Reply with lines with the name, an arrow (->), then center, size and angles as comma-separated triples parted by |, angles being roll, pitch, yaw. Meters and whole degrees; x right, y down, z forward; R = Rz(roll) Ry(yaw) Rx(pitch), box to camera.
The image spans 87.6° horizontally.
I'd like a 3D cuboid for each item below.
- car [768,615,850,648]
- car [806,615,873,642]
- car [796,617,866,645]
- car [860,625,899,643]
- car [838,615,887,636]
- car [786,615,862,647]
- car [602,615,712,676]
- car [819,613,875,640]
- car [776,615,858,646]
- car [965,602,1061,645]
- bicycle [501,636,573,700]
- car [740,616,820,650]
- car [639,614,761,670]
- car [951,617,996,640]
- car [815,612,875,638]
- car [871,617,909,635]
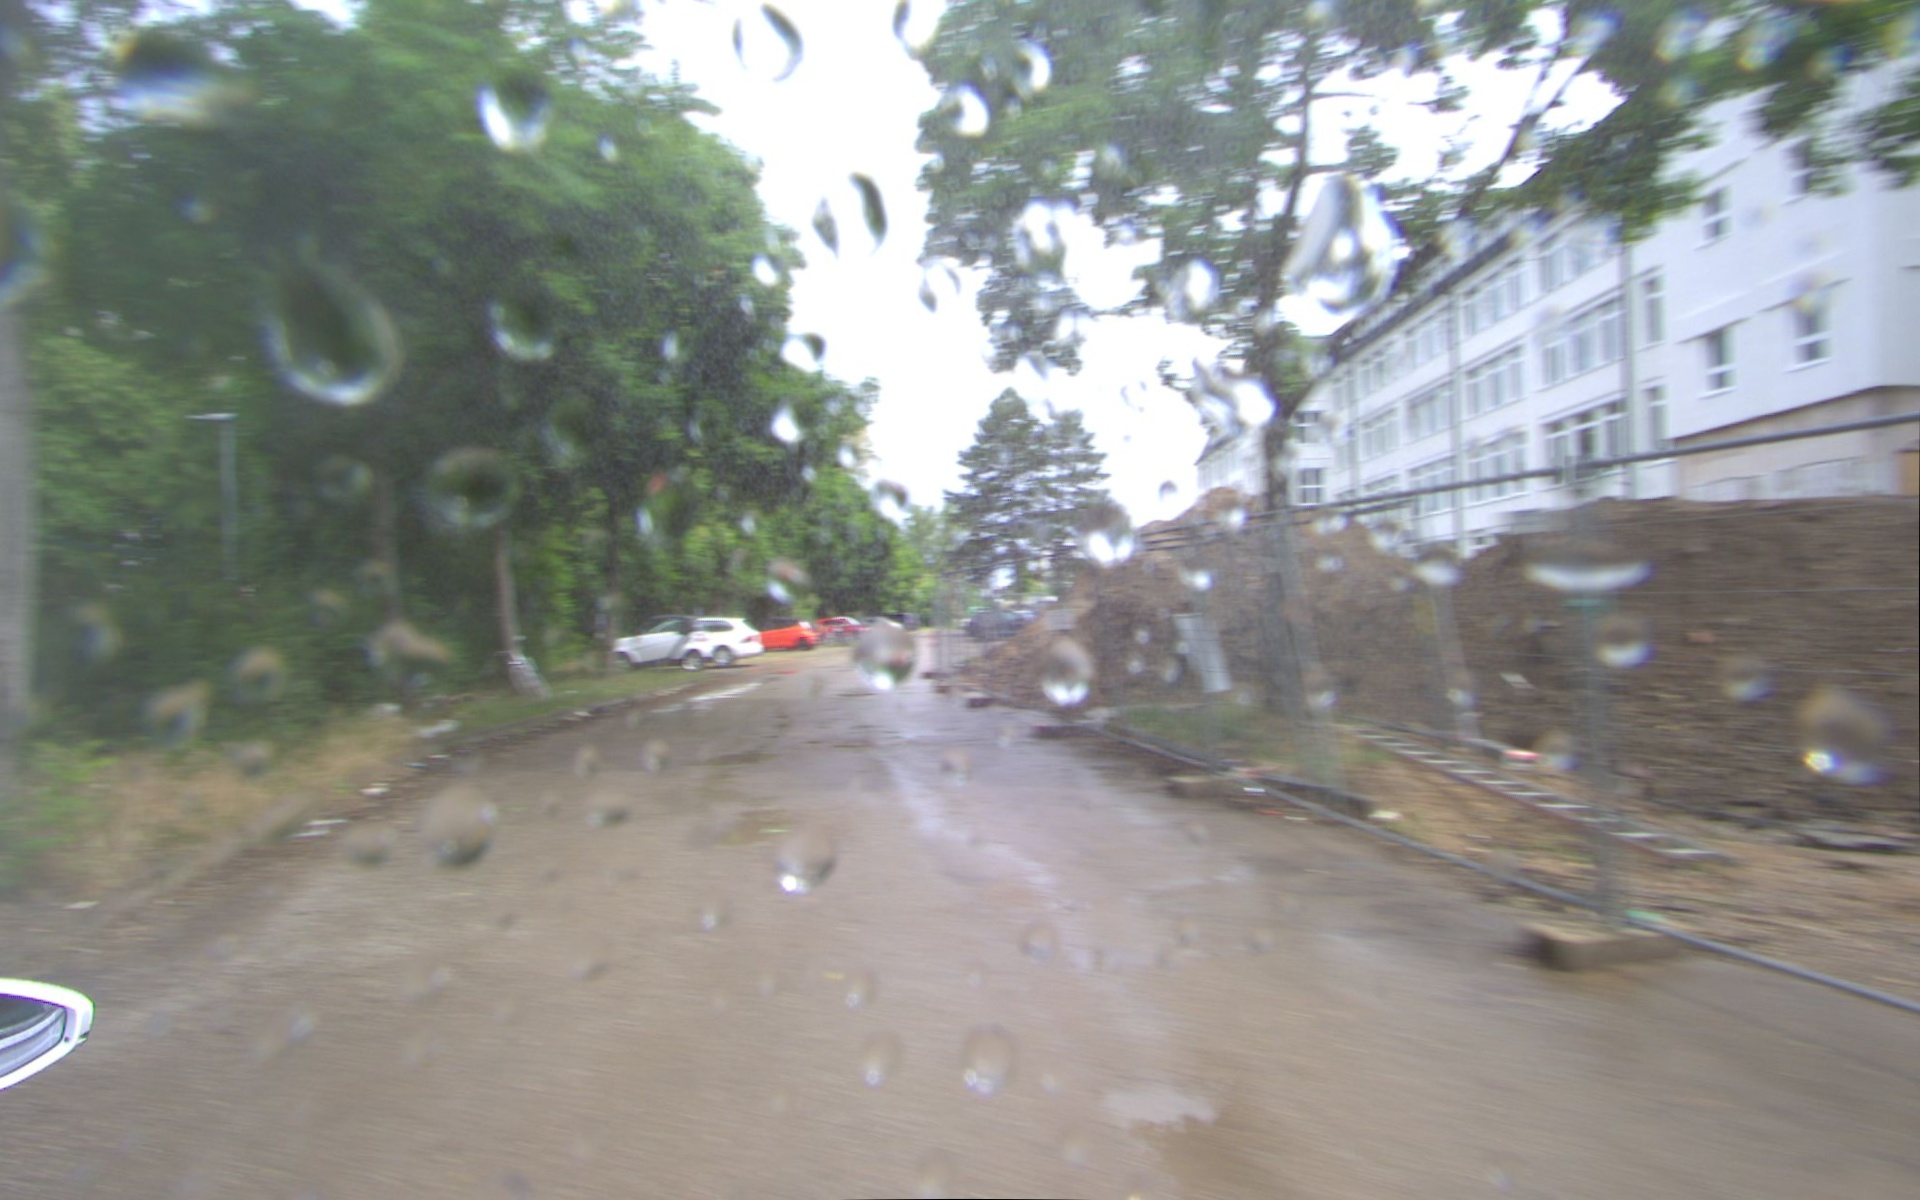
car -> -7.423, 1.533, 49.443 | 3.731, 1.549, 1.909 | 0, 0, 1
car -> -7.256, 1.691, 60.536 | 3.922, 1.581, 1.763 | 0, 1, -3
car -> -7.317, 1.736, 57.174 | 3.878, 1.537, 1.805 | 0, 0, -4
car -> -7.745, 3.229, 96.582 | 3.691, 1.661, 1.671 | 0, 1, -4
car -> -7.648, 1.991, 78.791 | 3.794, 1.594, 1.957 | 0, 0, -4
car -> -7.405, 1.684, 54.974 | 4.041, 1.672, 1.846 | 0, 1, -5
car -> -8.181, 1.209, 27.224 | 2.711, 1.504, 1.591 | -1, 1, -12
car -> -7.157, 1.650, 63.471 | 3.530, 1.642, 1.868 | 0, 1, -7
car -> -7.334, 1.539, 51.594 | 3.922, 1.516, 1.993 | 0, 0, 0
car -> 2.617, 1.173, 50.672 | 4.694, 1.966, 2.402 | -2, 0, 1
bicycle -> -6.457, 1.018, 15.358 | 0.467, 0.872, 1.455 | 0, 0, 1
car -> -7.993, 1.465, 44.701 | 3.230, 1.444, 1.592 | 0, 1, 3
car -> -7.624, 1.214, 29.636 | 3.379, 1.488, 1.738 | -1, 1, -12
car -> 1.178, 2.550, 90.740 | 3.922, 1.865, 1.999 | -3, 1, -2
car -> -7.535, 1.629, 65.760 | 3.794, 1.594, 1.957 | 0, 0, -4
car -> -7.205, 2.658, 103.271 | 3.922, 1.734, 1.913 | 0, 1, -4
